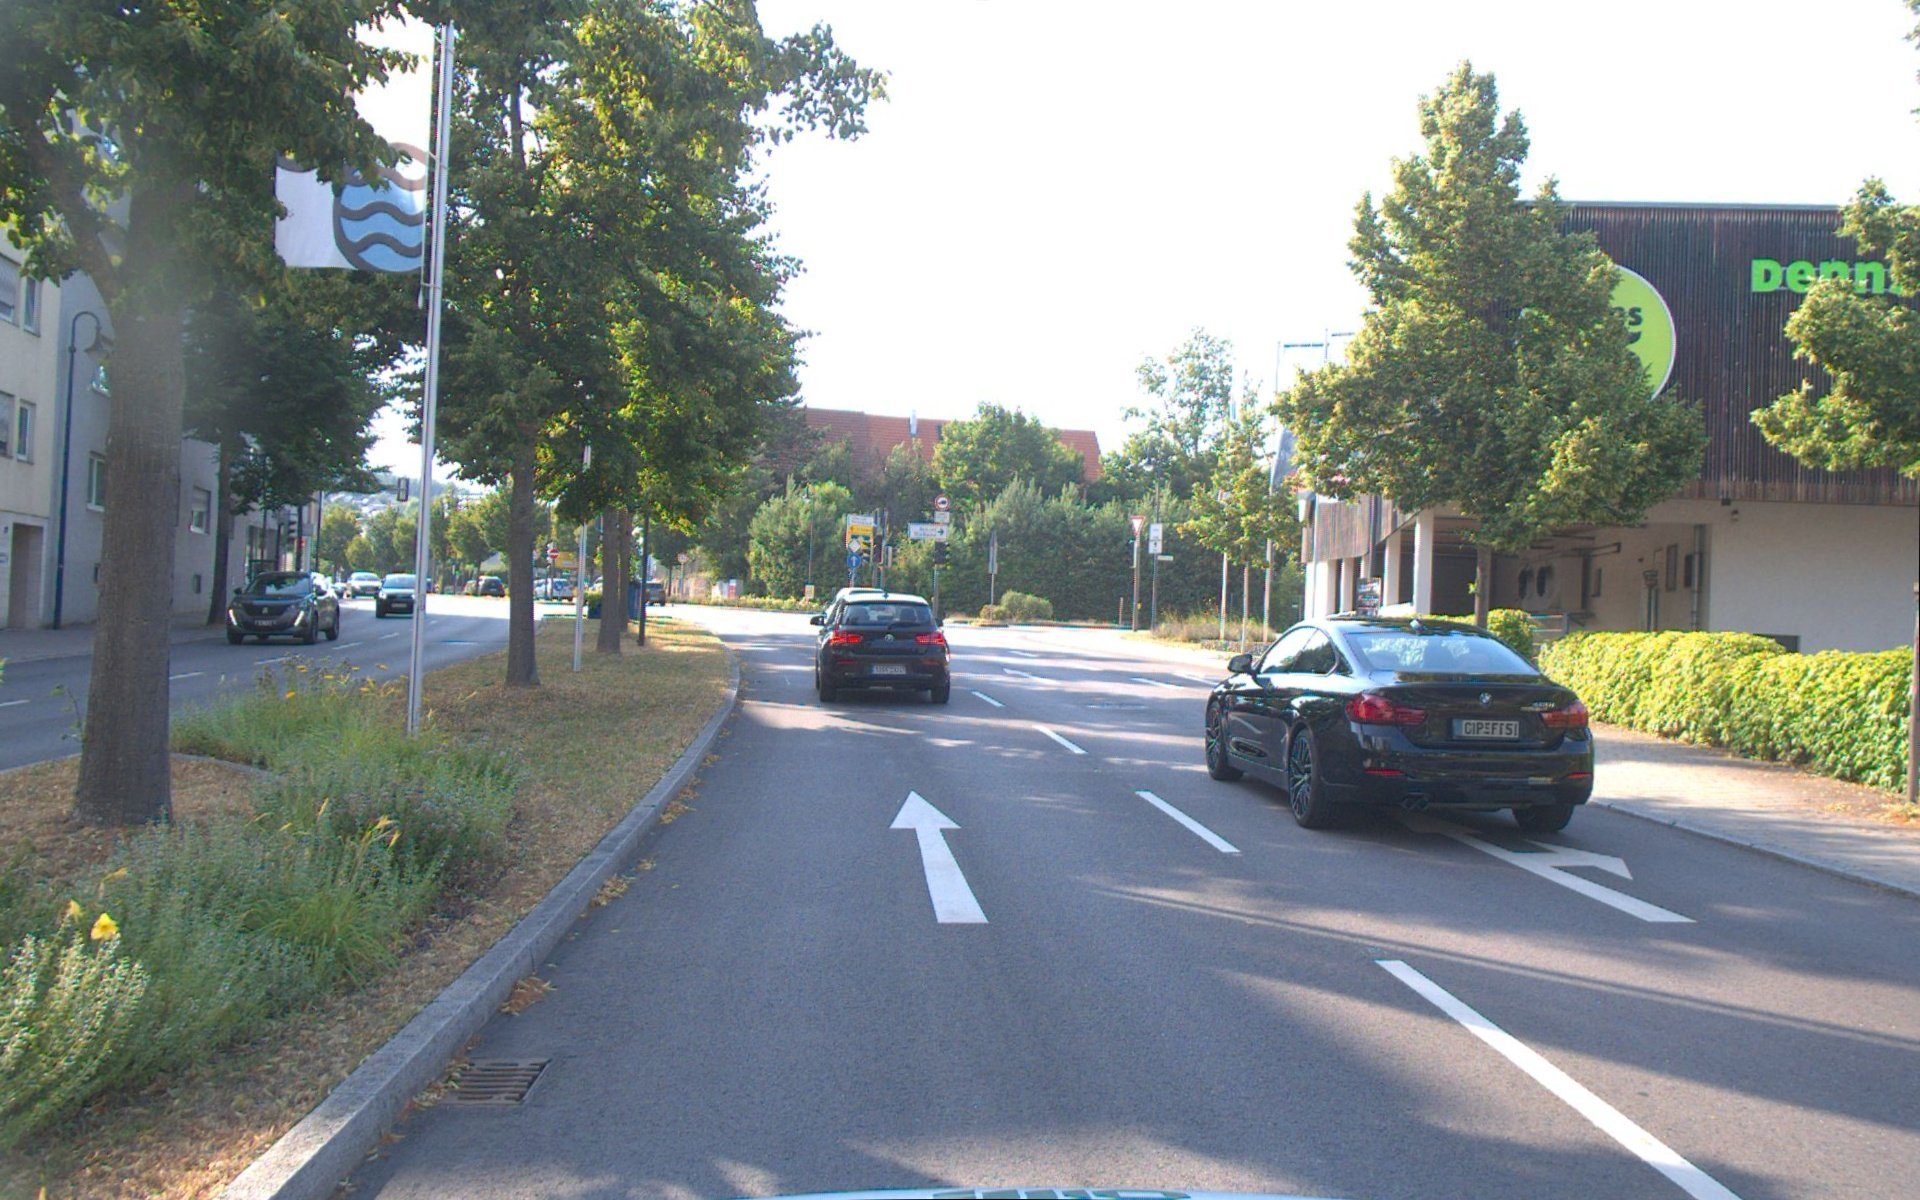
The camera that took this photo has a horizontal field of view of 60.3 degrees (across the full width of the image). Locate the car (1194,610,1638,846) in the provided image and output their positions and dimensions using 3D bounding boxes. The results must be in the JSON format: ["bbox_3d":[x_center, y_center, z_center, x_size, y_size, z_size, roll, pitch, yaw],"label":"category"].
[{"bbox_3d":[3.088,0.795,12.228,1.882,1.388,4.350,1,0,-3],"label":"car"}]

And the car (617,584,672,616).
[{"bbox_3d":[-19.158,-0.043,100.226,2.228,1.703,4.554,4,0,-24],"label":"car"}]

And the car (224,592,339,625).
[{"bbox_3d":[-31.667,0.396,77.293,4.782,1.462,1.908,1,0,-18],"label":"car"}]

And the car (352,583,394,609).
[{"bbox_3d":[-34.831,-0.246,98.063,1.830,1.512,4.954,1,0,-26],"label":"car"}]

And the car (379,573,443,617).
[{"bbox_3d":[-19.637,-0.172,59.277,1.576,1.512,3.776,1,0,-9],"label":"car"}]

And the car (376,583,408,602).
[{"bbox_3d":[-54.598,-0.709,158.906,2.193,1.800,4.411,1,0,-29],"label":"car"}]

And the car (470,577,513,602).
[{"bbox_3d":[-35.340,-0.783,124.741,2.193,1.800,4.411,1,0,-29],"label":"car"}]

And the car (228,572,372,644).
[{"bbox_3d":[-14.735,0.165,37.182,1.903,1.512,4.318,1,0,-6],"label":"car"}]

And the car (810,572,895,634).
[{"bbox_3d":[-3.403,0.083,51.528,1.892,1.800,4.438,1,0,-14],"label":"car"}]

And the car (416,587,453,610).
[{"bbox_3d":[-45.094,-0.143,141.978,2.193,1.891,4.411,2,0,-29],"label":"car"}]

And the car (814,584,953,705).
[{"bbox_3d":[-1.173,0.574,23.494,1.688,1.516,4.347,2,0,-6],"label":"car"}]

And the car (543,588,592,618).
[{"bbox_3d":[-25.000,0.179,105.275,2.228,1.703,4.554,4,0,-24],"label":"car"}]
